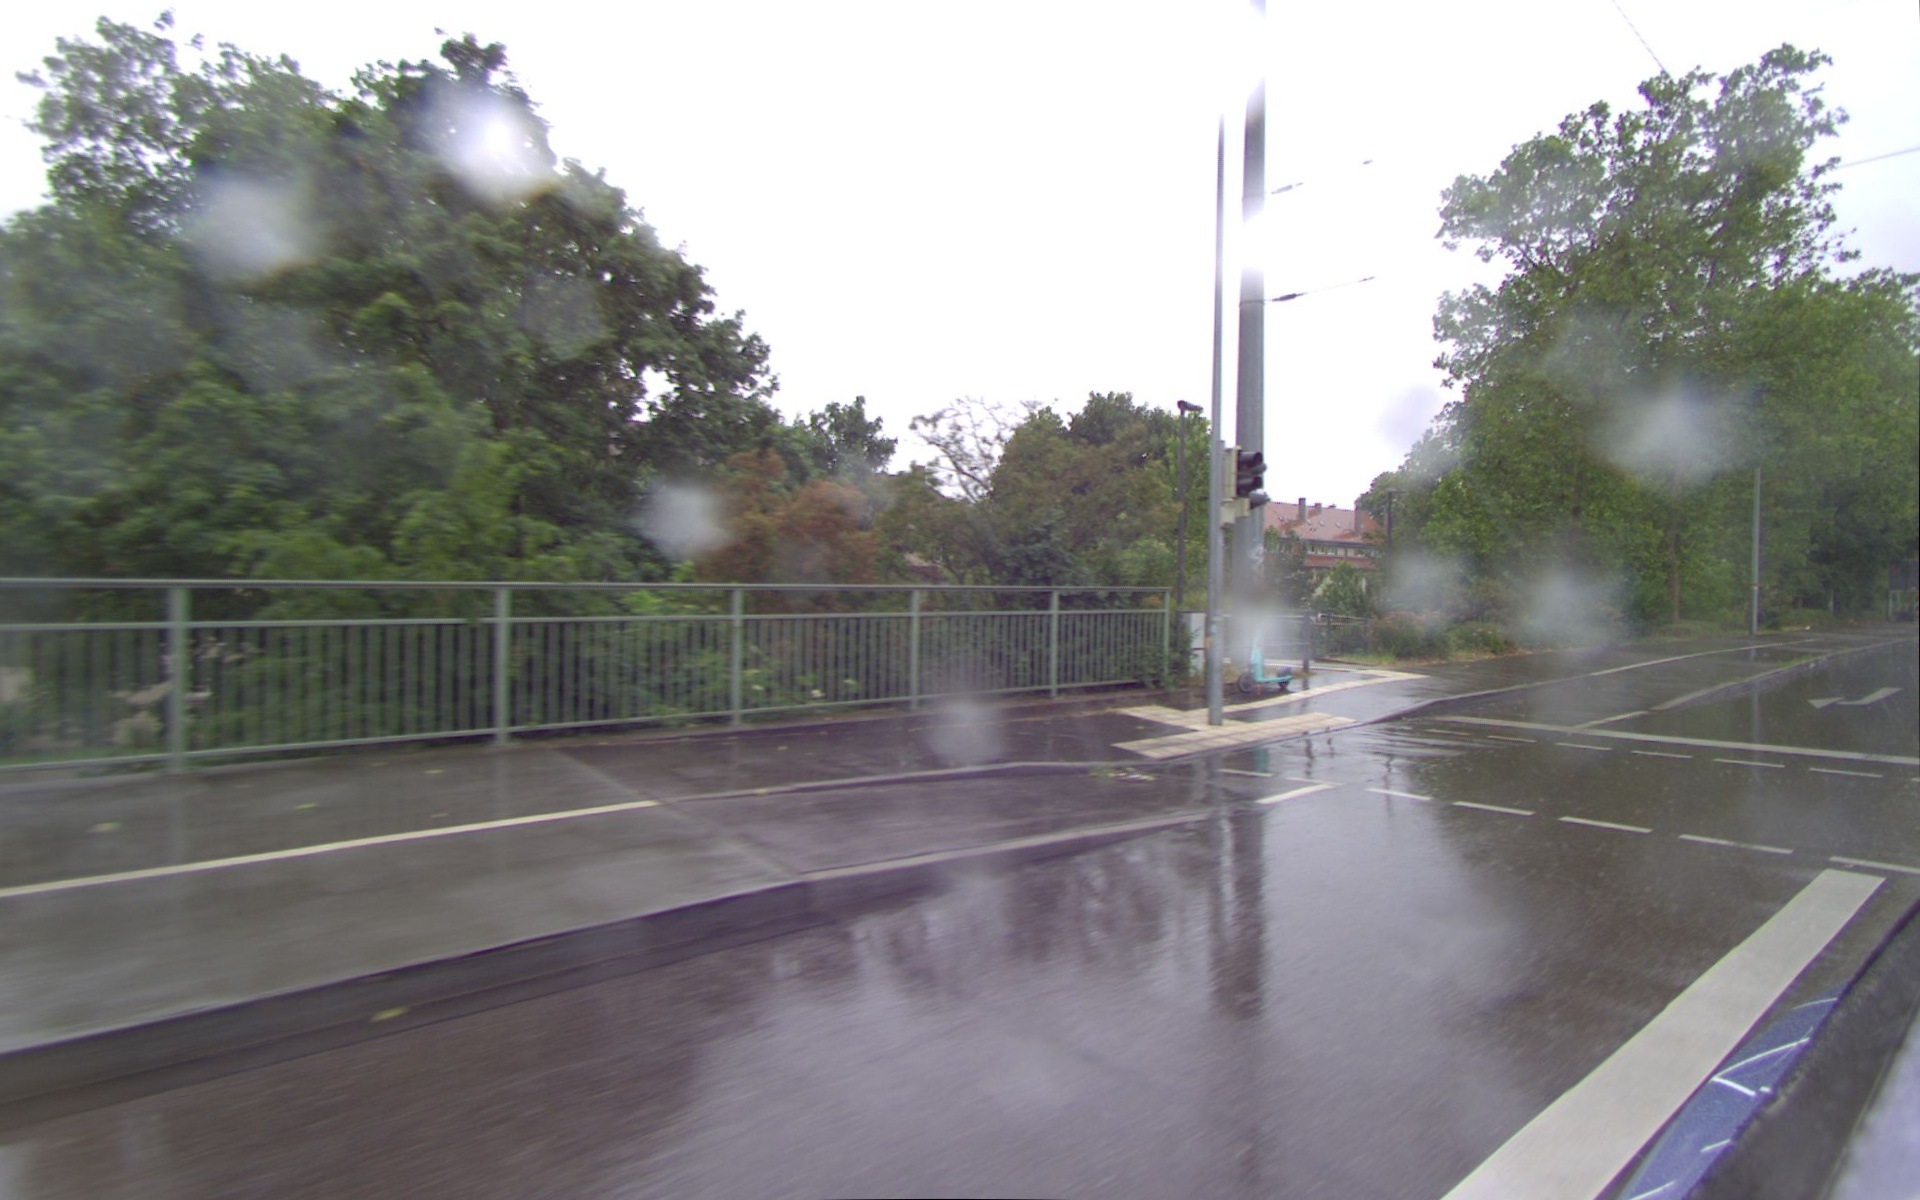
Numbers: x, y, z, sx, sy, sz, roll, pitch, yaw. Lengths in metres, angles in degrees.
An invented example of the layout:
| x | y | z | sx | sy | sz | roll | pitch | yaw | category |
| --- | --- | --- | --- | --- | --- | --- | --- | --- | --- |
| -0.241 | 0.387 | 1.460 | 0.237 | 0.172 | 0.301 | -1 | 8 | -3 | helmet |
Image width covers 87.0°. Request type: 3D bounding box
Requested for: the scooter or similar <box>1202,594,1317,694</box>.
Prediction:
| x | y | z | sx | sy | sz | roll | pitch | yaw | category |
| --- | --- | --- | --- | --- | --- | --- | --- | --- | --- |
| 4.251 | 0.588 | 14.321 | 1.617 | 1.309 | 0.761 | -1 | 1 | -38 | scooter or similar |
